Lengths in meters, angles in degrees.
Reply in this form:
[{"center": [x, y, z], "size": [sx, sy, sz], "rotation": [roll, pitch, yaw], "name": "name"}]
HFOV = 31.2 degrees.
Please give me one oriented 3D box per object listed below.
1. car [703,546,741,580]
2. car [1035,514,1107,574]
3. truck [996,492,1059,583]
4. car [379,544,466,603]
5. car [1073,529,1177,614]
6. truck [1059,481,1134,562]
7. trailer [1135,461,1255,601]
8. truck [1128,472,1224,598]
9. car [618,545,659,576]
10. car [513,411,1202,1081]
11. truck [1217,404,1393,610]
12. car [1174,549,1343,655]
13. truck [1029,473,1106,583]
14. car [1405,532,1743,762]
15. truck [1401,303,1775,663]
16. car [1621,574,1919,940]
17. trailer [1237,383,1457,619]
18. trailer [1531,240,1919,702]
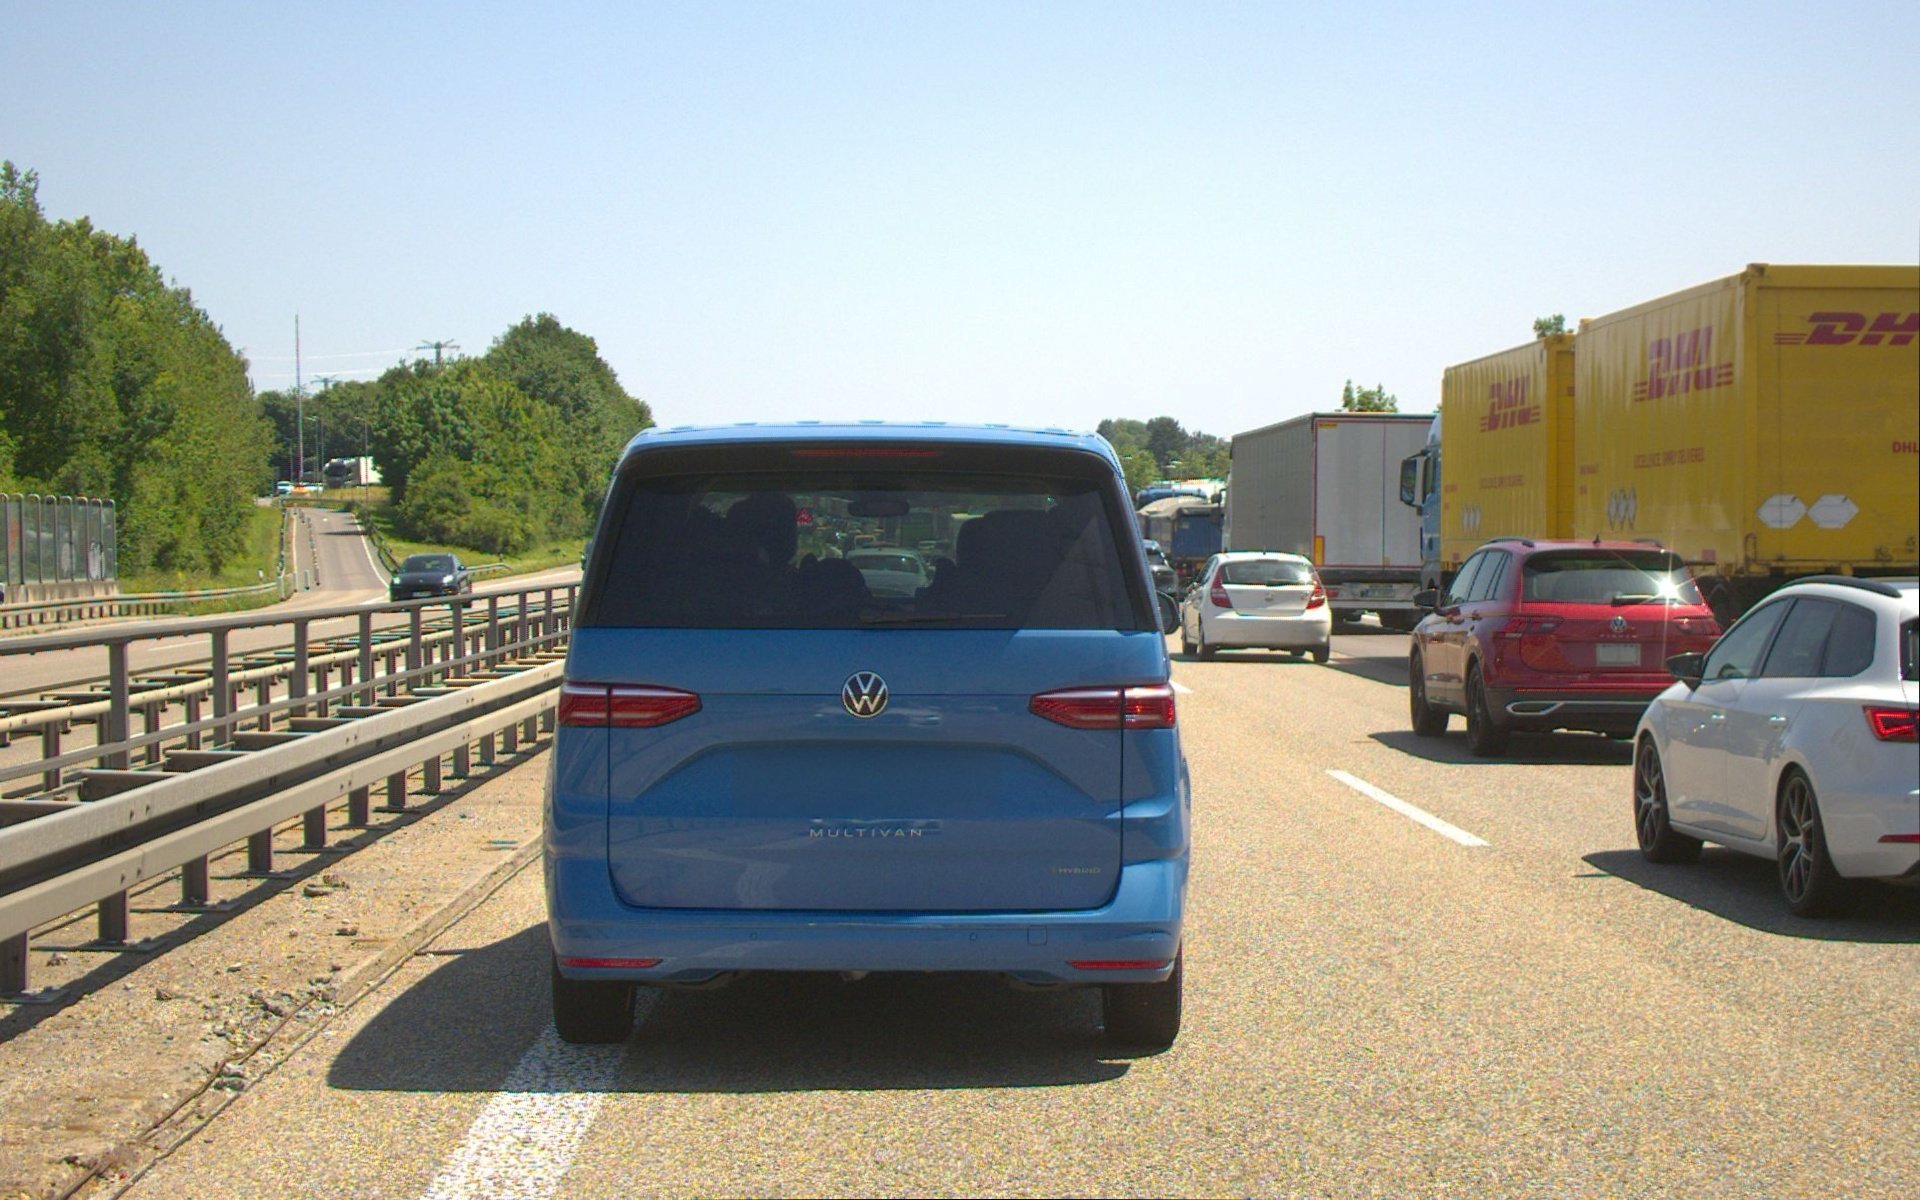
[{"center": [-12.583, -1.955, 181.916], "size": [1.754, 1.715, 4.101], "rotation": [-1, 1, -1], "name": "car"}, {"center": [2.952, -1.490, 91.971], "size": [1.715, 1.535, 3.821], "rotation": [-1, 1, -1], "name": "car"}, {"center": [3.779, -3.491, 196.067], "size": [2.833, 5.023, 11.818], "rotation": [1, 0, -2], "name": "truck"}, {"center": [-15.233, -0.762, 97.604], "size": [1.780, 1.563, 4.387], "rotation": [-2, 1, -1], "name": "car"}, {"center": [3.199, -0.576, 67.179], "size": [1.715, 1.581, 3.821], "rotation": [-1, 1, -2], "name": "car"}, {"center": [5.731, -3.275, 145.535], "size": [2.355, 3.207, 9.742], "rotation": [1, 0, -2], "name": "truck"}, {"center": [6.658, -1.902, 98.689], "size": [2.379, 3.731, 11.189], "rotation": [1, 0, -1], "name": "trailer"}, {"center": [6.532, -1.937, 104.615], "size": [2.367, 3.709, 6.034], "rotation": [1, 0, -1], "name": "truck"}, {"center": [-16.969, -2.075, 181.551], "size": [1.754, 1.542, 4.000], "rotation": [-2, 0, -1], "name": "car"}, {"center": [-0.305, 0.372, 11.434], "size": [1.882, 1.831, 4.000], "rotation": [0, 1, -1], "name": "car"}, {"center": [7.194, -1.893, 72.534], "size": [2.768, 4.081, 6.984], "rotation": [1, 0, -2], "name": "truck"}, {"center": [4.097, -0.004, 47.718], "size": [1.838, 1.409, 4.000], "rotation": [0, 1, -2], "name": "car"}, {"center": [5.066, -3.342, 164.351], "size": [2.833, 5.023, 11.147], "rotation": [1, 0, -2], "name": "truck"}, {"center": [4.655, 0.296, 26.611], "size": [1.851, 1.603, 4.001], "rotation": [0, 2, -1], "name": "car"}, {"center": [7.797, -1.359, 44.208], "size": [2.722, 4.041, 10.336], "rotation": [1, 0, -1], "name": "truck"}, {"center": [4.283, 0.597, 15.386], "size": [1.781, 1.382, 4.188], "rotation": [0, 1, -1], "name": "car"}, {"center": [7.327, -1.788, 66.707], "size": [2.755, 4.132, 11.312], "rotation": [1, 0, -1], "name": "trailer"}, {"center": [7.911, -1.145, 34.558], "size": [2.701, 4.010, 8.931], "rotation": [1, 0, -1], "name": "trailer"}]
